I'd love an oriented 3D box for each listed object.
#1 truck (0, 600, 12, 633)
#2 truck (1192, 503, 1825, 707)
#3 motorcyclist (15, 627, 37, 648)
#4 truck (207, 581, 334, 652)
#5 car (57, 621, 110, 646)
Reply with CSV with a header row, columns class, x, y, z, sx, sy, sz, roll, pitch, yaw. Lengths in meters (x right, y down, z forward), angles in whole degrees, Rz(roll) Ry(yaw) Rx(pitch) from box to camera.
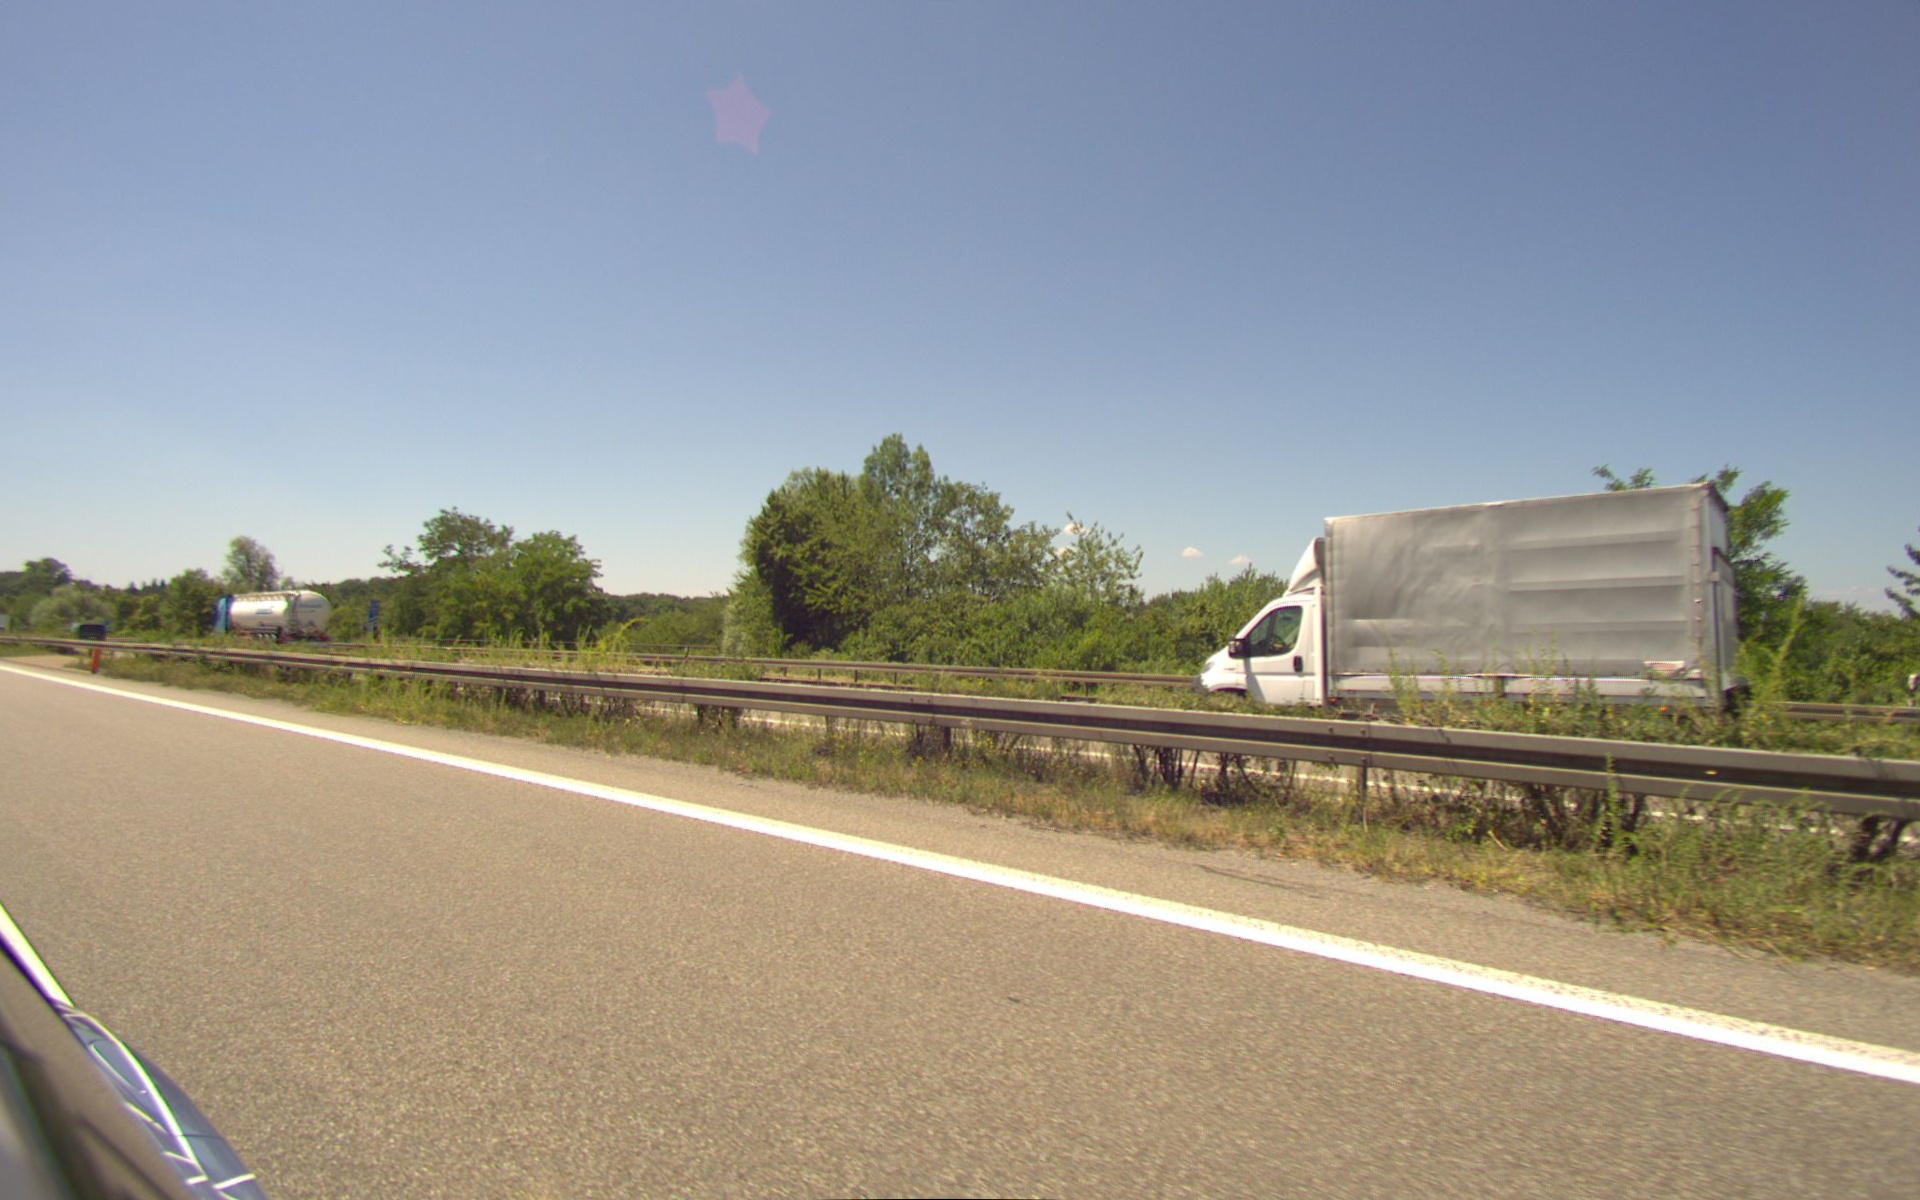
class,x,y,z,sx,sy,sz,roll,pitch,yaw
truck,-145.677,2.535,151.473,16.845,4.756,3.193,-2,-5,40
truck,6.999,0.149,13.722,7.135,2.083,2.700,-1,-3,42
motorcyclist,-69.867,2.834,75.737,1.333,1.532,0.962,-1,-4,40
truck,-44.302,1.076,64.647,15.927,4.084,2.700,-1,-2,41
car,-70.492,2.676,81.341,5.779,1.932,2.388,-2,-3,41
